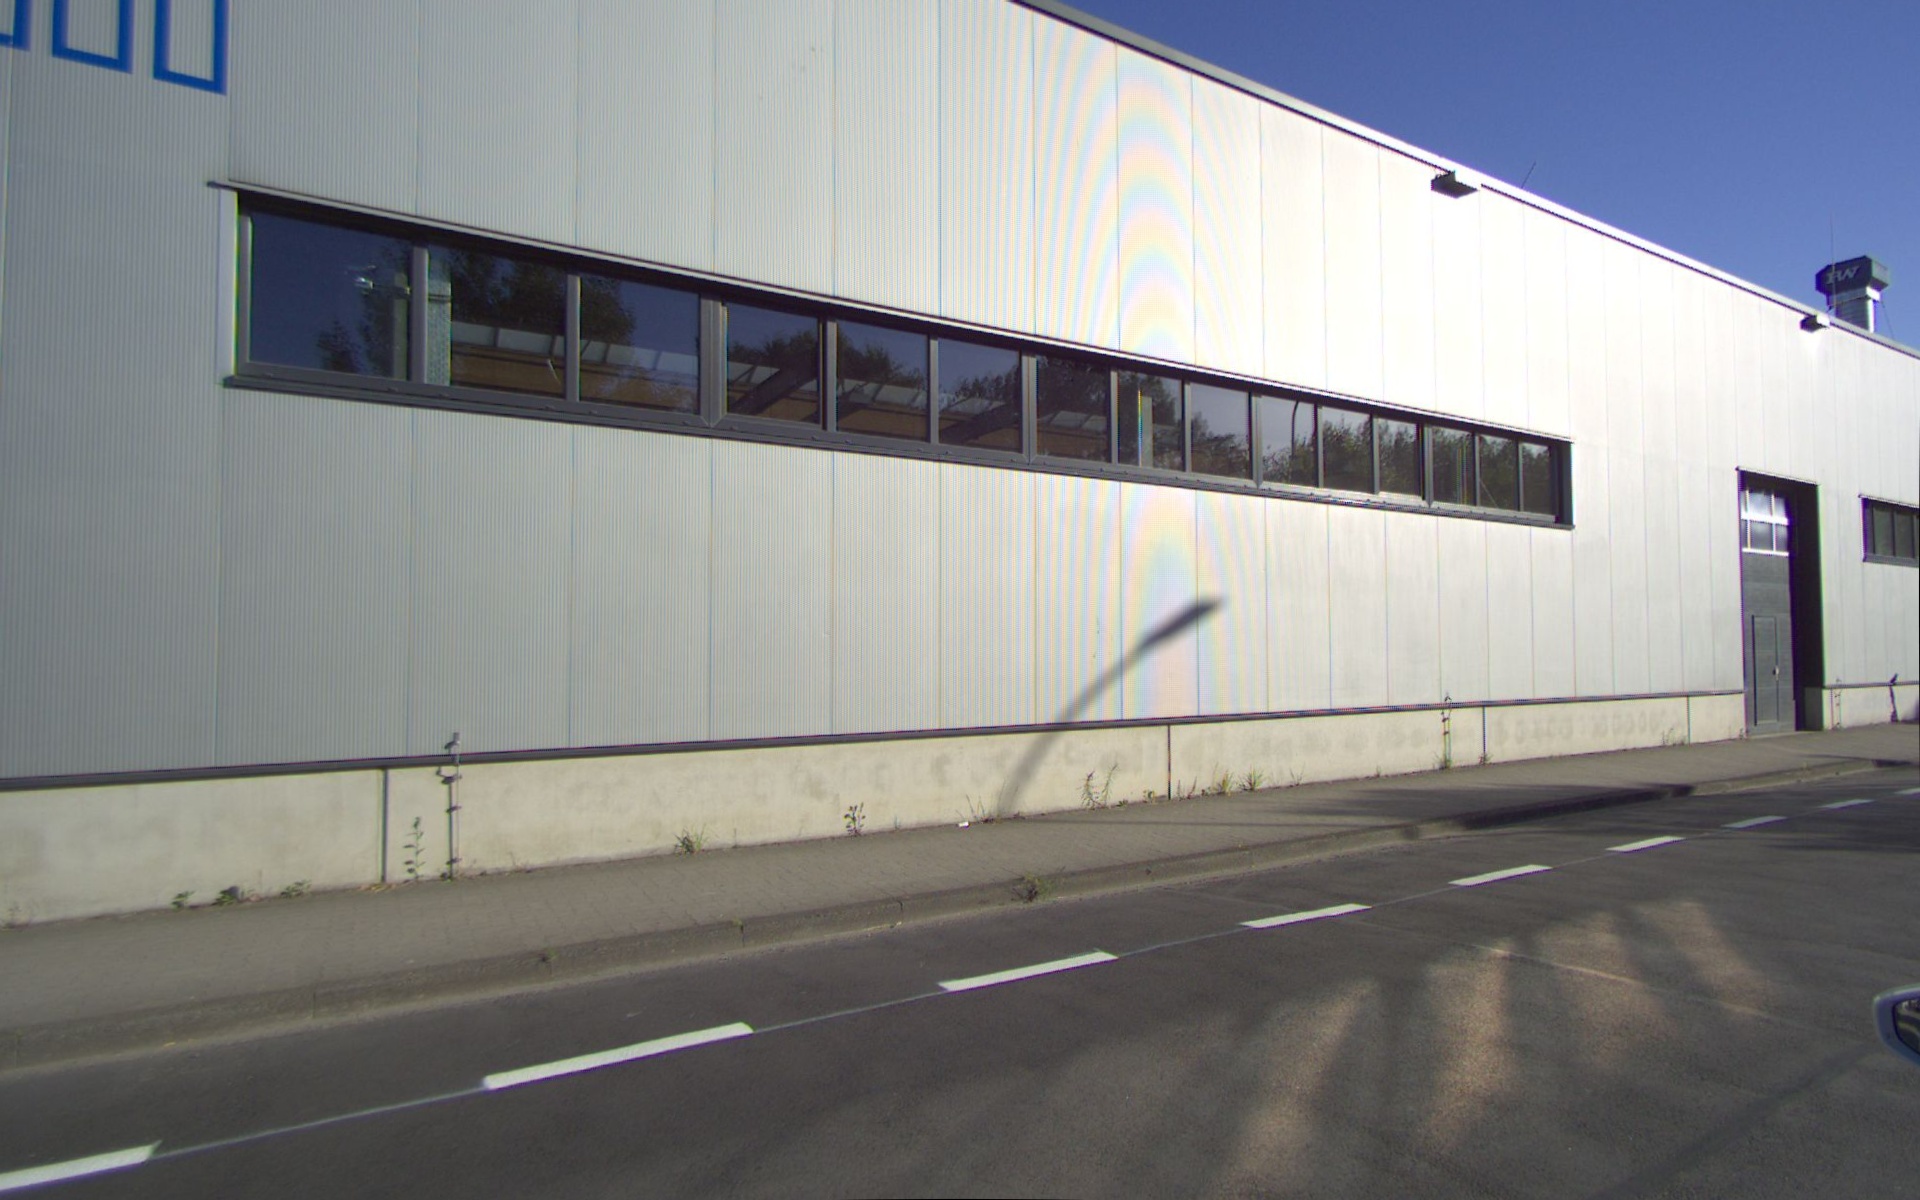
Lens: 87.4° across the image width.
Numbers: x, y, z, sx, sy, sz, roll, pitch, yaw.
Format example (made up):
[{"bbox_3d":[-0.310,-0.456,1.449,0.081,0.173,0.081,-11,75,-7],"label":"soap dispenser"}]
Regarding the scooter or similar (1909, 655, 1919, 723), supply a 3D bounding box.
[{"bbox_3d":[18.632,1.688,19.200,1.047,1.283,0.414,1,-3,-31],"label":"scooter or similar"}]
